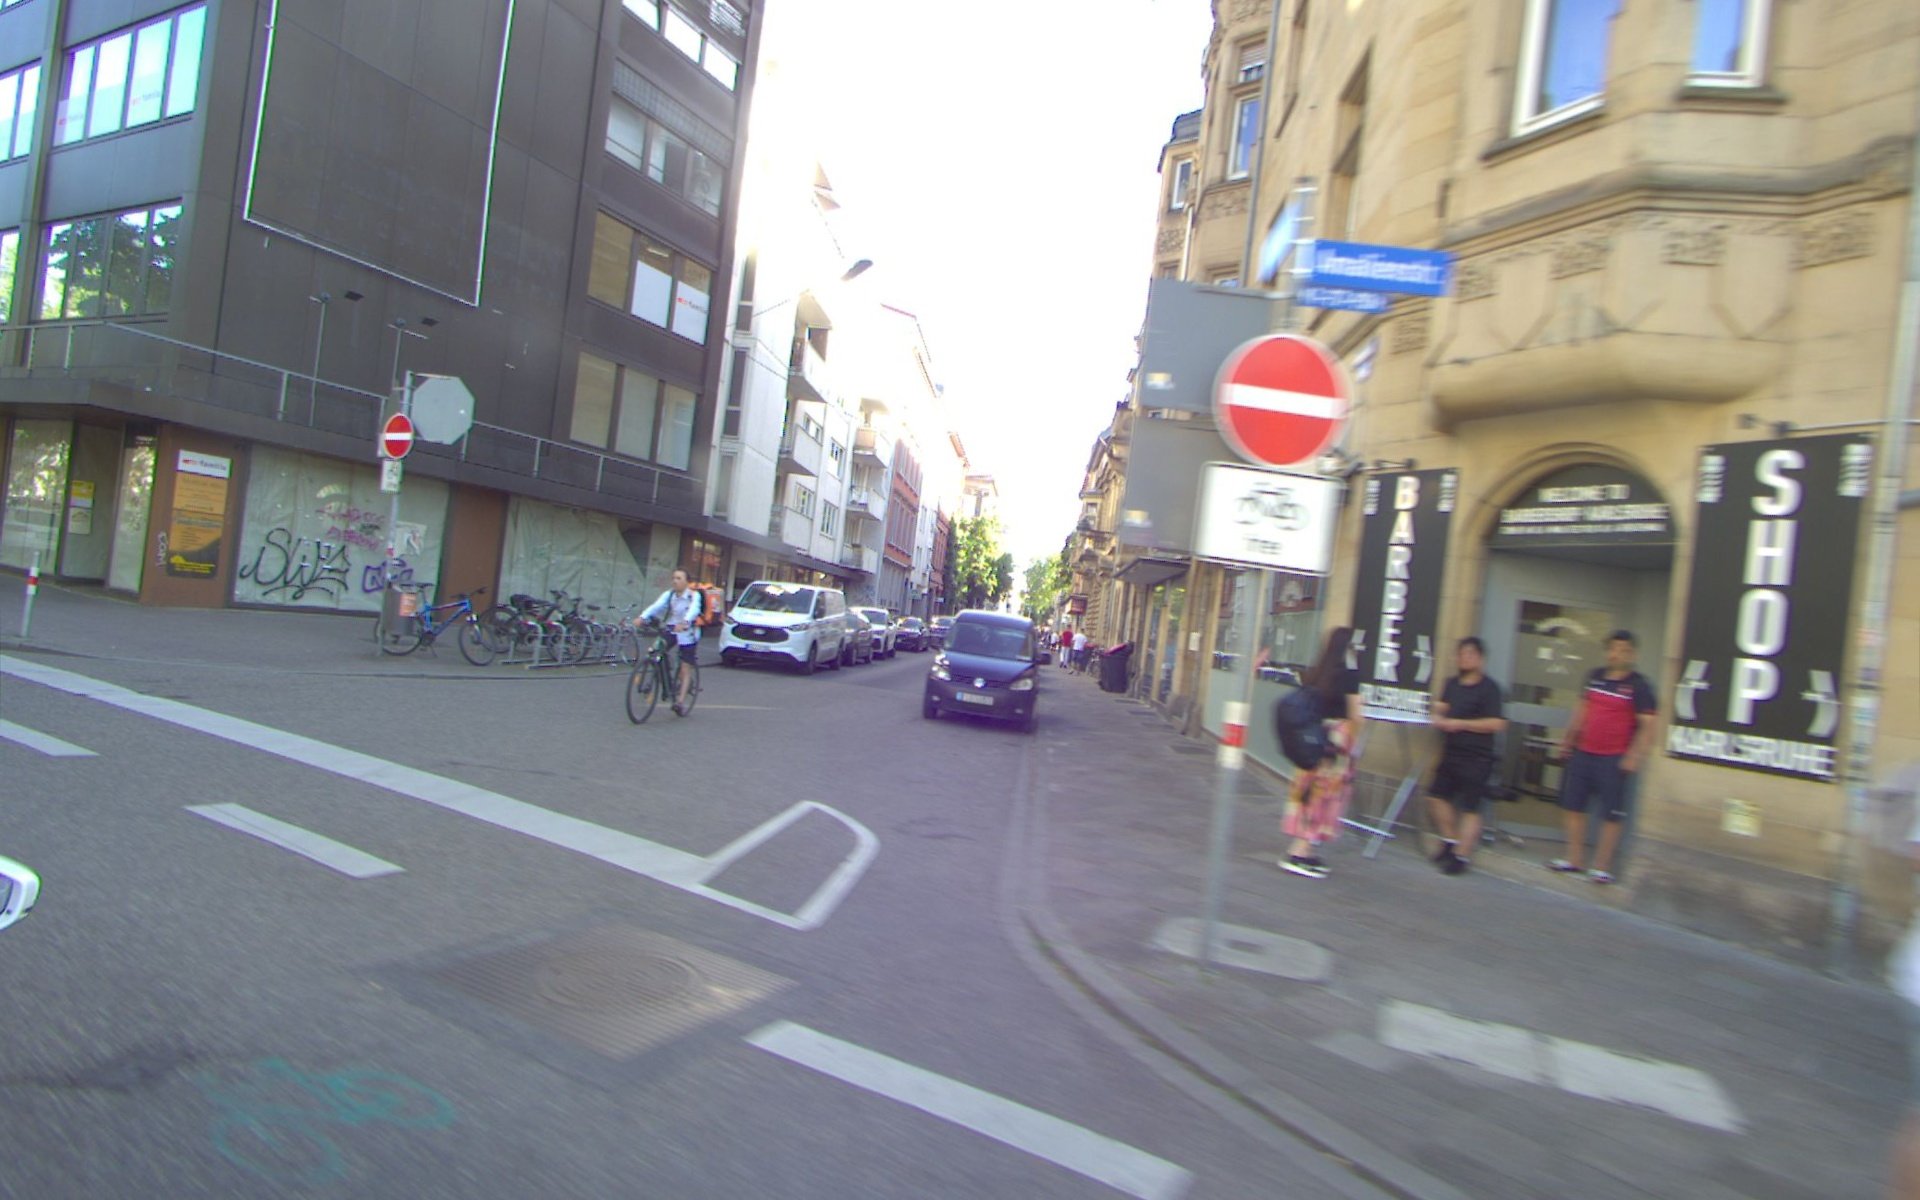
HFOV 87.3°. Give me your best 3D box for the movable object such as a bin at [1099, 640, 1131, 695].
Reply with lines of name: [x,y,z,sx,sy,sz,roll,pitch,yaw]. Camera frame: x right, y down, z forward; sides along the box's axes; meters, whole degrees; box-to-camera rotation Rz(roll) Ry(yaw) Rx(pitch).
movable object such as a bin: [4.328,1.880,28.128,0.671,1.434,0.761,7,0,6]

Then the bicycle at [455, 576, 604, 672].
bicycle: [-6.913,0.393,16.206,1.982,1.174,0.573,10,-1,0]

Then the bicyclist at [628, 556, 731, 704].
bicyclist: [-3.165,0.350,11.435,0.656,1.543,0.891,7,-1,8]

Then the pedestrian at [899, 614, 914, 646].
pedestrian: [-3.305,1.832,61.913,0.632,1.879,0.456,7,0,2]

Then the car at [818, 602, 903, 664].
car: [-3.248,1.143,33.773,1.962,1.696,4.322,7,-2,4]

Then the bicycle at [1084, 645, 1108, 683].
bicycle: [4.830,2.258,35.807,0.556,1.229,1.865,7,-1,4]

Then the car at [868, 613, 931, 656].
car: [-2.532,1.519,43.301,1.962,1.523,4.323,7,-2,4]

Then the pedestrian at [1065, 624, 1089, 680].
pedestrian: [4.381,1.953,37.714,0.632,2.038,0.456,7,0,2]

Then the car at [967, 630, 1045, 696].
car: [1.266,1.651,26.309,1.742,1.428,3.674,6,-3,5]

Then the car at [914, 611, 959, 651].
car: [-1.312,1.815,57.566,1.962,1.942,4.322,7,-2,4]

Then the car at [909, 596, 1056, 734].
car: [0.480,1.054,16.974,1.962,1.791,4.322,7,-2,4]

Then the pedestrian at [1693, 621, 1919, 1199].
pedestrian: [2.591,0.980,2.564,0.689,1.741,0.886,5,2,-37]

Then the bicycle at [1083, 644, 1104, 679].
bicycle: [5.137,2.350,38.776,0.556,1.229,1.865,7,-1,4]

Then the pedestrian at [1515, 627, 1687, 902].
pedestrian: [4.340,1.081,6.825,0.494,1.712,0.710,7,-1,-34]

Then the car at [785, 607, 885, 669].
car: [-3.431,1.075,28.368,1.942,1.428,3.672,6,-2,5]

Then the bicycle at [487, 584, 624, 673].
bicycle: [-6.770,0.480,16.889,1.892,1.145,0.573,10,-1,0]

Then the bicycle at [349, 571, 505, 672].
bicycle: [-7.463,0.305,14.150,1.716,1.175,0.572,8,0,-11]

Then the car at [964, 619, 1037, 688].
car: [1.366,1.695,32.168,1.962,1.791,4.458,7,-2,4]

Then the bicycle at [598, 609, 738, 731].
bicycle: [-3.229,0.776,11.336,0.656,1.171,1.947,7,-2,8]

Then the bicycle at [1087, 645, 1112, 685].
bicycle: [4.675,2.175,33.796,0.556,1.229,1.743,7,-1,4]

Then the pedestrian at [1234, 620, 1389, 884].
pedestrian: [2.430,1.028,7.002,0.610,1.712,0.673,5,-1,-18]

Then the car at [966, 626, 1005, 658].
car: [1.533,2.467,59.153,1.962,1.569,4.323,7,-2,4]

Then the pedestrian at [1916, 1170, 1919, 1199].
pedestrian: [3.257,1.058,2.625,0.681,1.741,0.698,6,1,6]

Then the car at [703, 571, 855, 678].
car: [-3.995,0.618,23.233,2.079,1.951,4.957,7,-2,4]

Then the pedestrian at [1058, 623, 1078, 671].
pedestrian: [4.707,2.048,43.833,0.632,2.038,0.456,7,0,2]

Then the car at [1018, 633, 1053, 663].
car: [4.719,3.020,62.931,1.962,1.569,4.323,7,-2,4]

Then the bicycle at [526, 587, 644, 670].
bicycle: [-6.620,0.502,17.811,1.714,1.145,0.573,10,-1,3]

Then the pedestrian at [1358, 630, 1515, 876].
pedestrian: [3.592,1.132,7.605,0.614,1.712,0.710,7,-2,-34]
